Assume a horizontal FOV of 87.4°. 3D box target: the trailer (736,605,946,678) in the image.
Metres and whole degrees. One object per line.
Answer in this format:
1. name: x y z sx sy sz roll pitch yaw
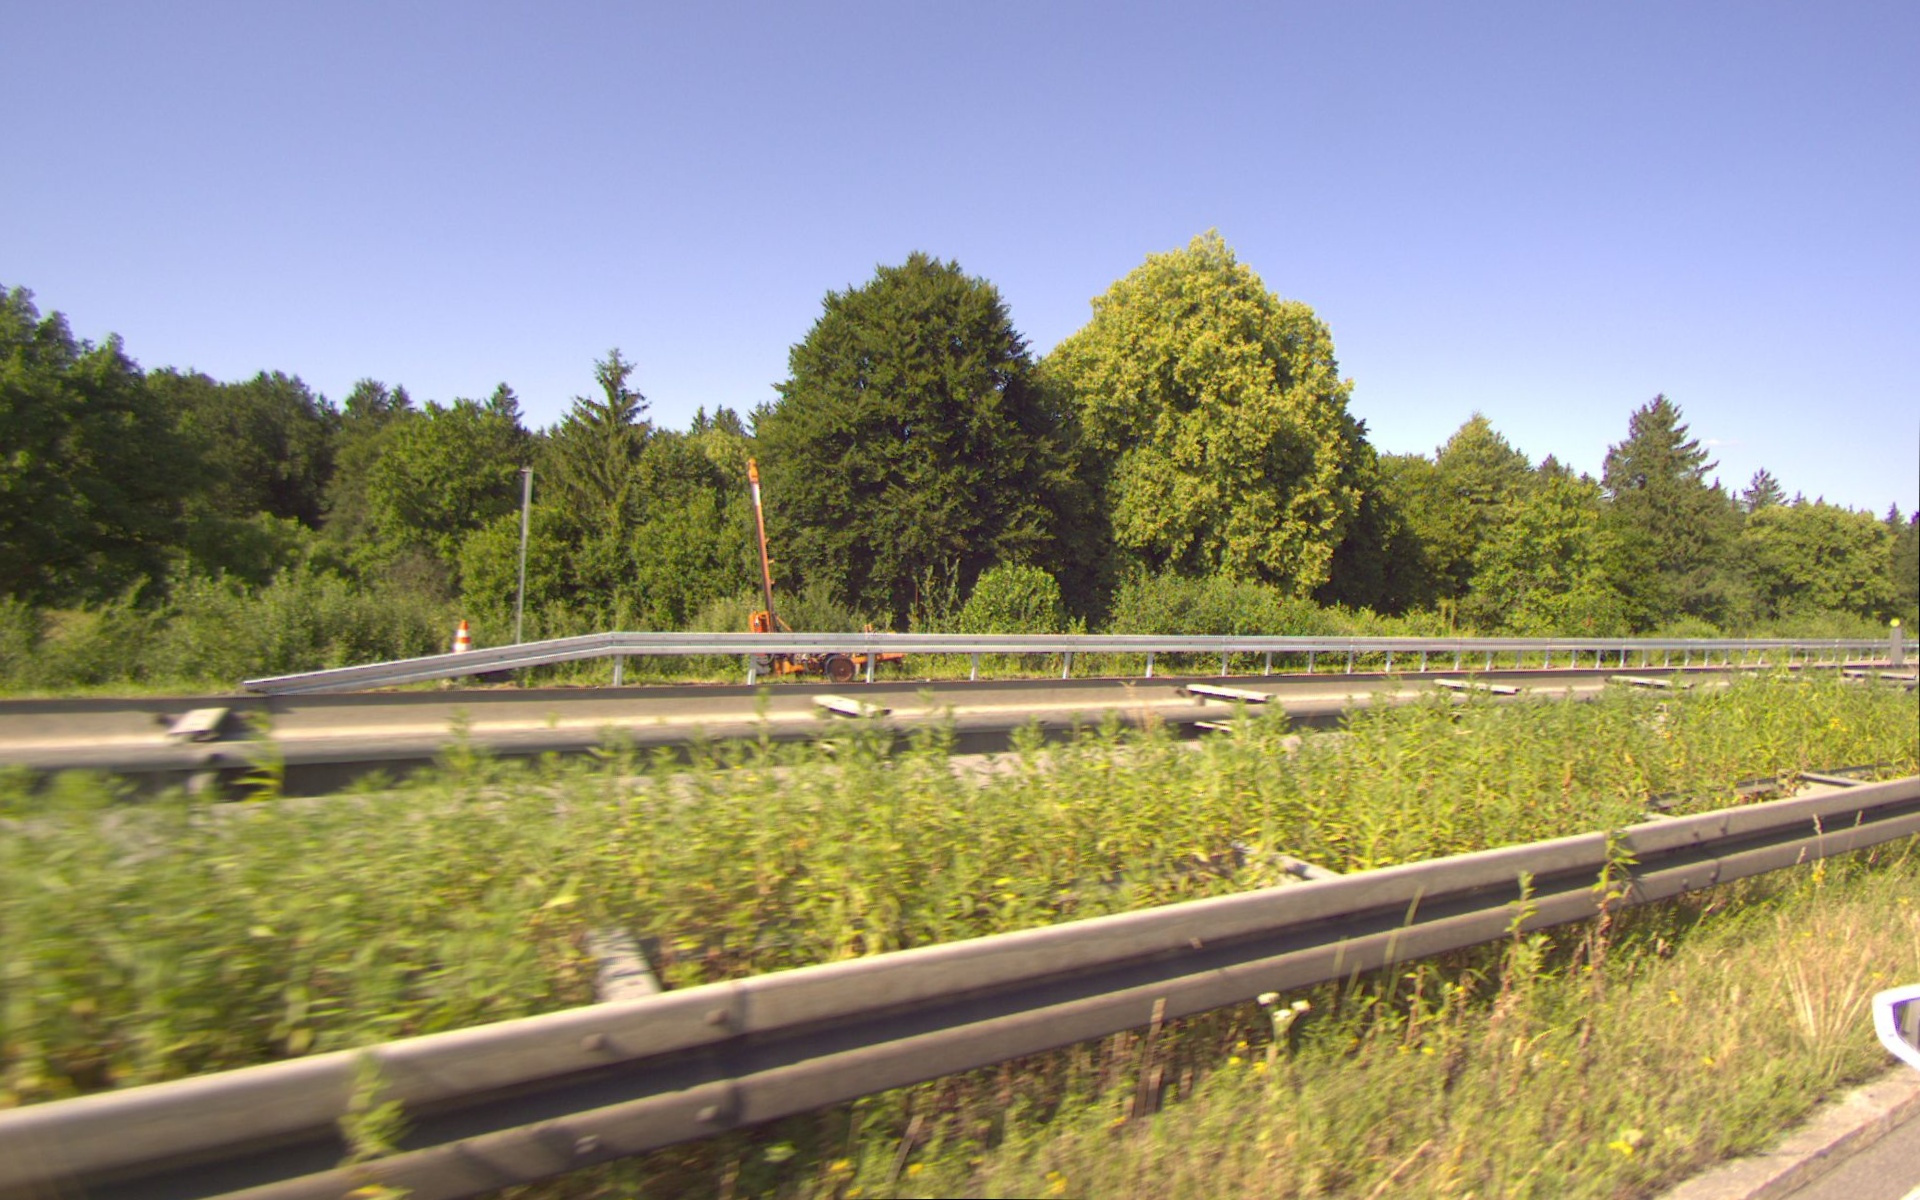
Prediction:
1. trailer: -1.959 0.688 16.911 3.384 1.067 0.988 1 4 -31
